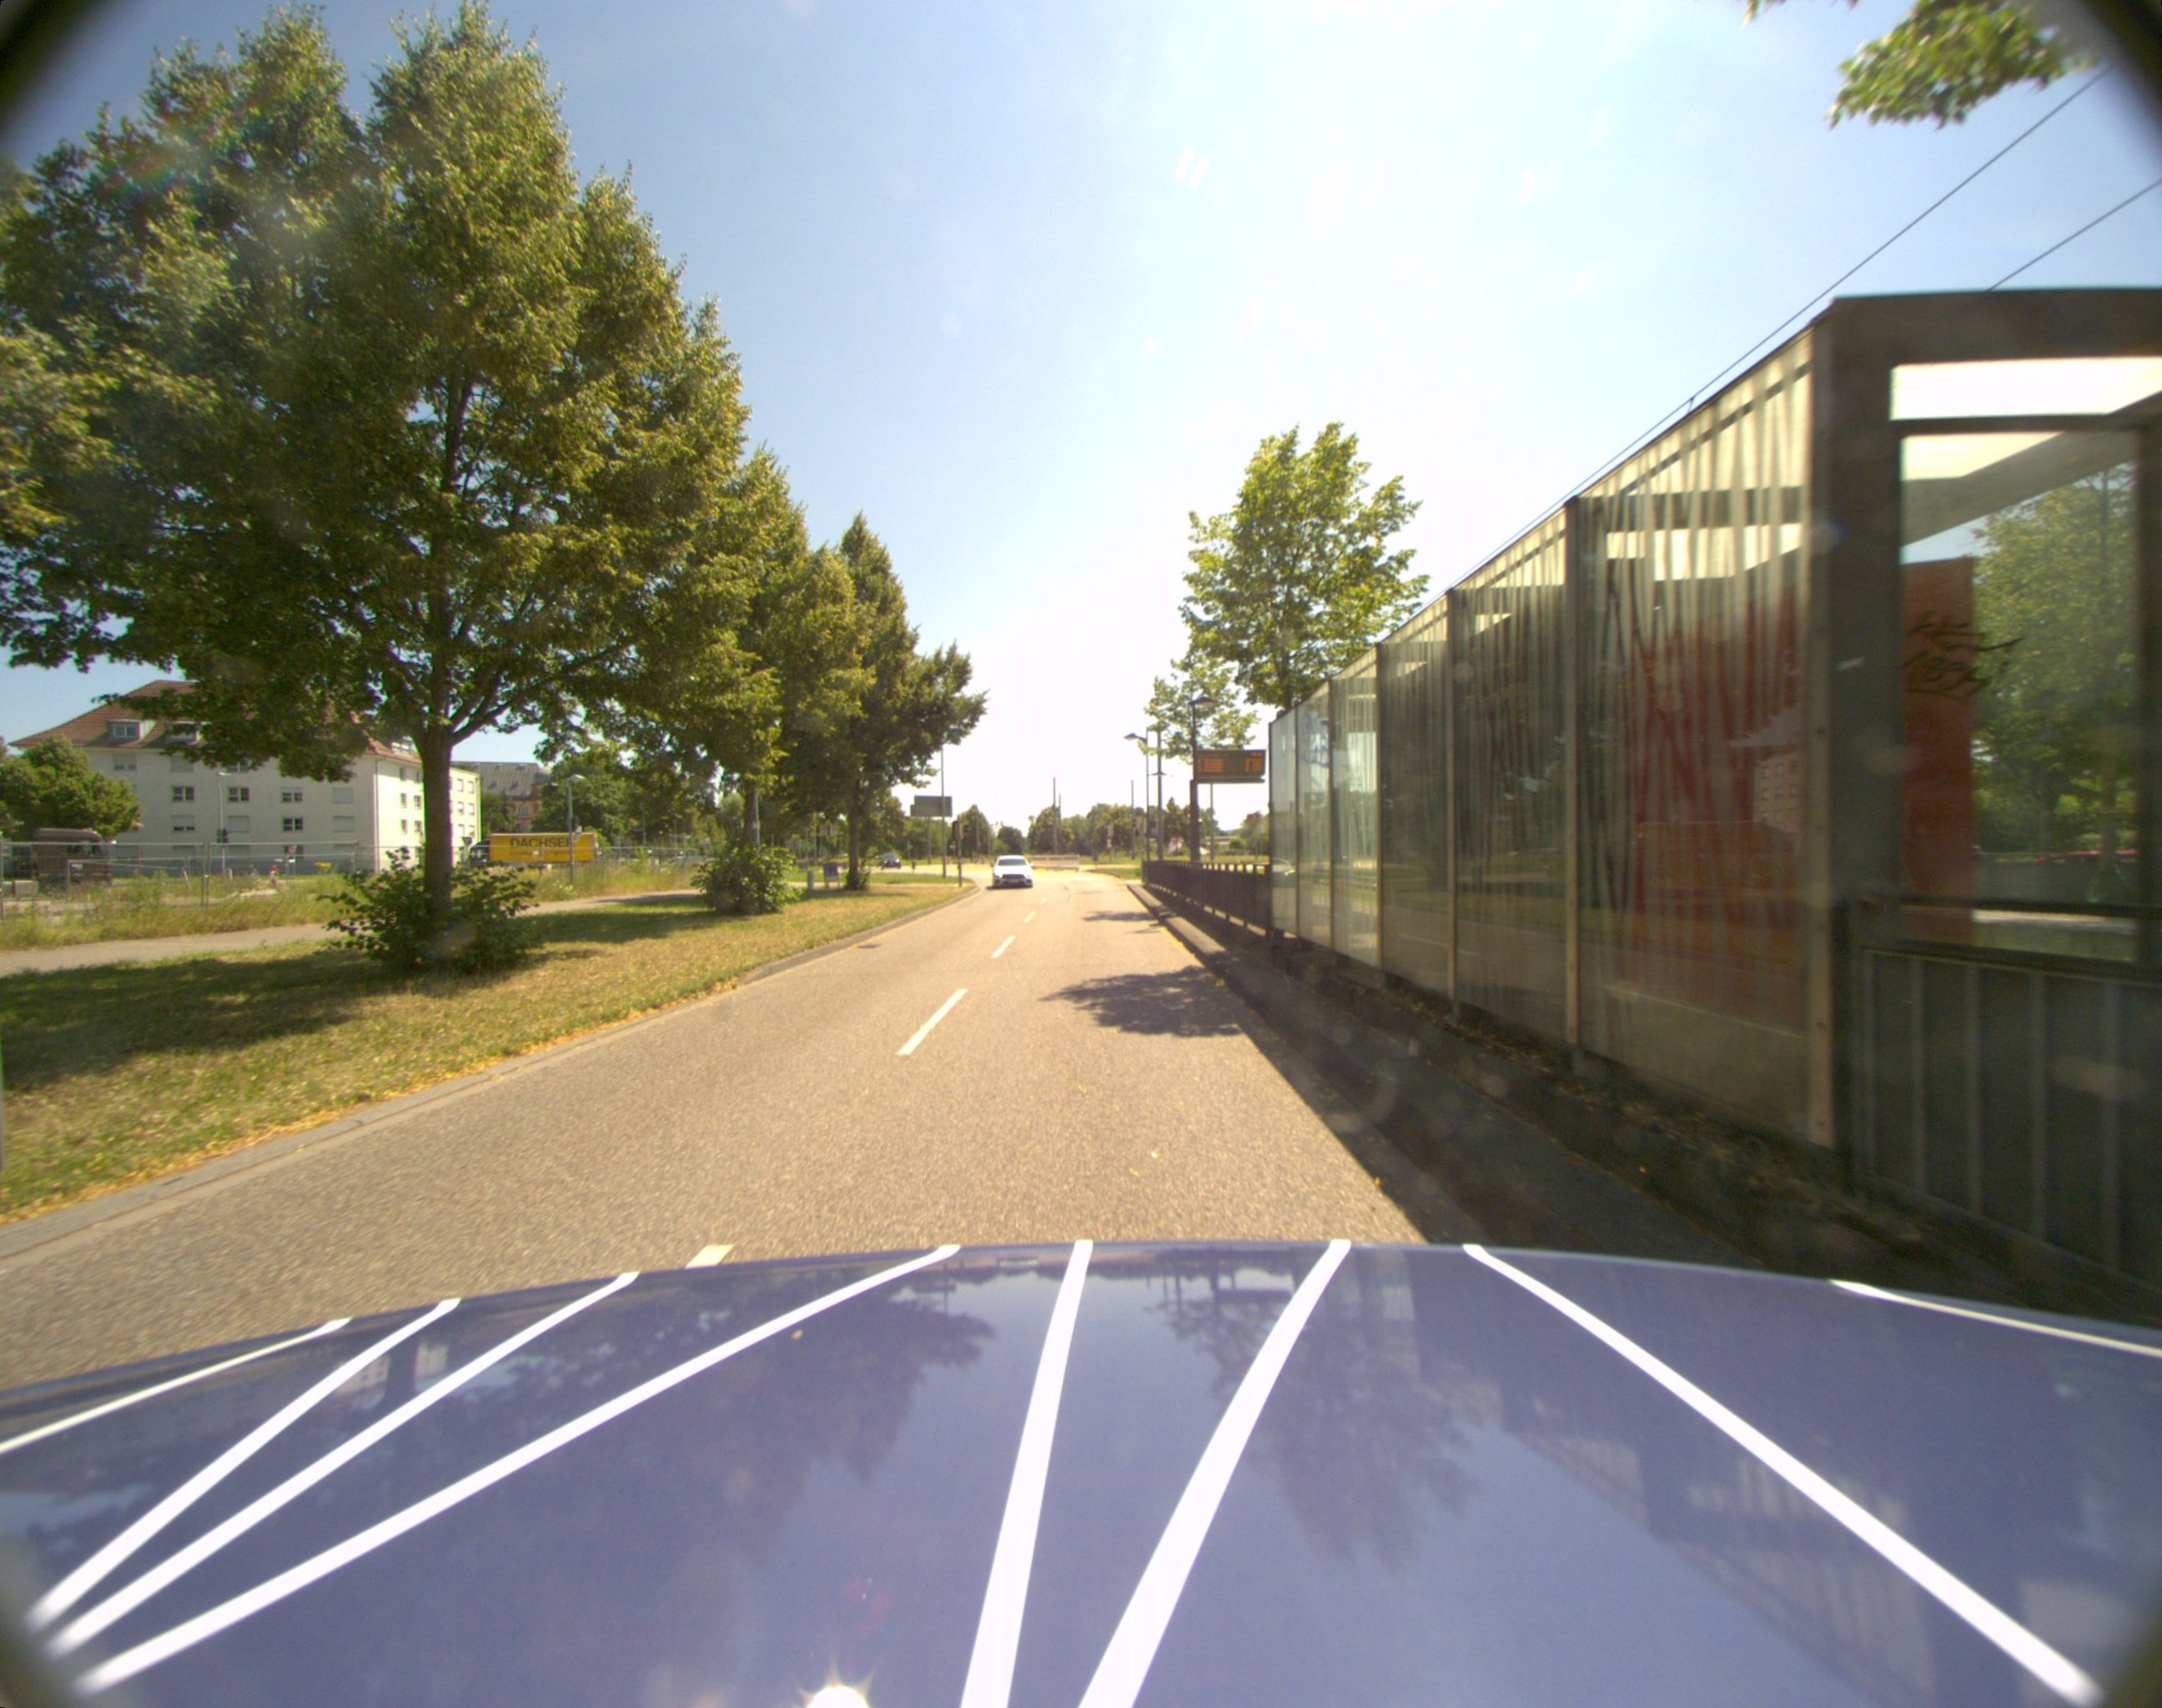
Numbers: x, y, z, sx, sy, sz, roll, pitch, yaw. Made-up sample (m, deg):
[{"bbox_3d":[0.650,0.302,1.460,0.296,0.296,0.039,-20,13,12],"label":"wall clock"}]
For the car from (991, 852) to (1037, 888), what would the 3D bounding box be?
[{"bbox_3d":[-3.004,0.721,34.819,1.780,1.536,3.964,-1,-1,-1],"label":"car"}]

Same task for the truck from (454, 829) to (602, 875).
[{"bbox_3d":[-45.930,-0.217,63.573,9.628,3.638,2.701,-1,1,-27],"label":"truck"}]

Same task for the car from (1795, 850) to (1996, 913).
[{"bbox_3d":[23.145,0.709,21.830,1.574,1.607,3.961,-1,1,1],"label":"car"}]

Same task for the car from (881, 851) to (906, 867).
[{"bbox_3d":[-17.102,0.439,69.174,1.981,1.410,3.994,-1,1,-16],"label":"car"}]

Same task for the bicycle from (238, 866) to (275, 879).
[{"bbox_3d":[-68.117,1.490,62.790,1.986,1.019,0.708,0,3,-12],"label":"bicycle"}]

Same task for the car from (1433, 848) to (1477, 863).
[{"bbox_3d":[39.678,0.141,80.785,1.998,1.509,5.837,-2,0,2],"label":"car"}]

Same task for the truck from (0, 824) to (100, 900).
[{"bbox_3d":[-51.442,0.390,36.402,3.156,3.512,4.974,0,1,30],"label":"truck"}]

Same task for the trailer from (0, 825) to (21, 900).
[{"bbox_3d":[-52.458,0.464,31.771,3.161,3.512,8.996,-1,0,6],"label":"trailer"}]

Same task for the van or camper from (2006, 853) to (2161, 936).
[{"bbox_3d":[19.813,0.715,13.968,1.479,1.419,3.428,-1,1,1],"label":"van or camper"}]
